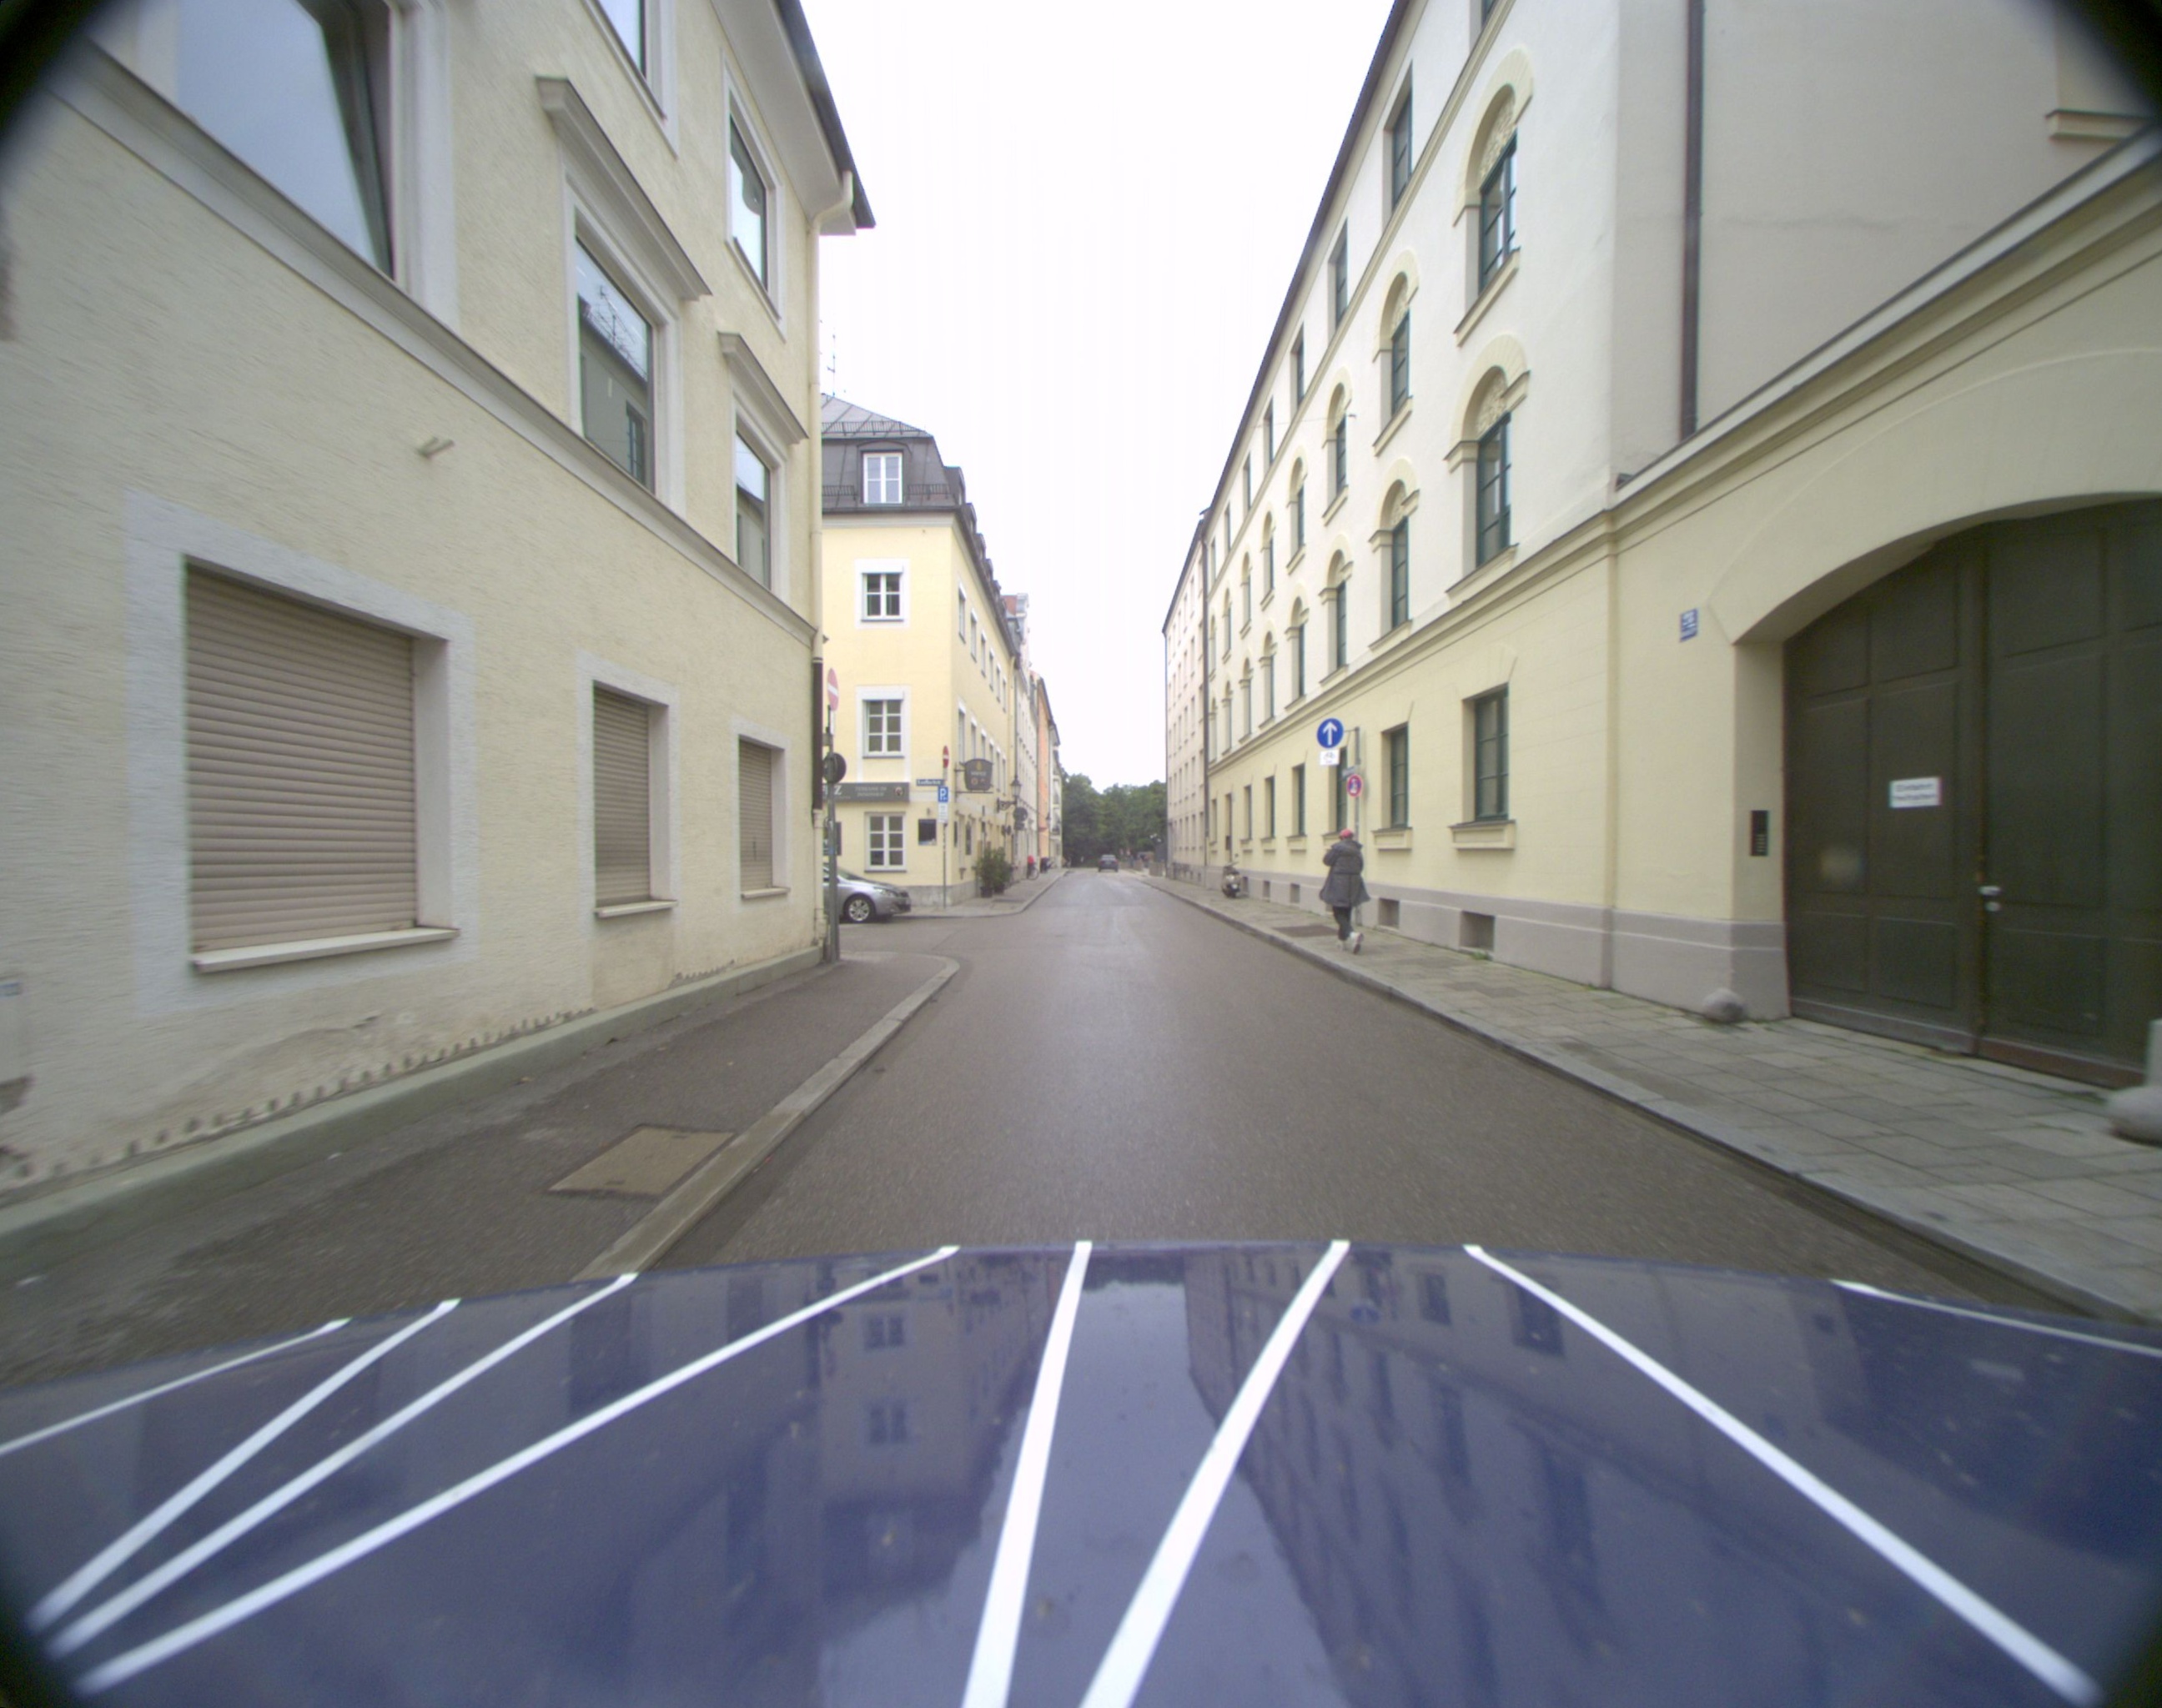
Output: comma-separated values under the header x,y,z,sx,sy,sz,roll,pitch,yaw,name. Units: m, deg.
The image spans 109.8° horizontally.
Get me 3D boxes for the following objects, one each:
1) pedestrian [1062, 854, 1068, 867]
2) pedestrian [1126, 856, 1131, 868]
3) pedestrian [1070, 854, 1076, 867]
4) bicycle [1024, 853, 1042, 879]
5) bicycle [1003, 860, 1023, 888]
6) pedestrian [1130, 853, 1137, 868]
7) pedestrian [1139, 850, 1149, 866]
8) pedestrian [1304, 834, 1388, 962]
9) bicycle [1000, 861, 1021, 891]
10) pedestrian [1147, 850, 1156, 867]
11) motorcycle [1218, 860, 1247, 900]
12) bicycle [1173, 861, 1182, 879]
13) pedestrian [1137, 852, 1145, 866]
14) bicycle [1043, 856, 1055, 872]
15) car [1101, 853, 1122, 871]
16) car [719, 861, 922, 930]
x,y,z,sx,sy,sz,roll,pitch,yaw,name
-2.077,0.841,99.616,0.753,1.670,0.656,0,0,-1,pedestrian
6.908,1.167,109.751,0.625,1.758,0.767,0,0,0,pedestrian
-1.013,0.816,99.644,0.753,1.725,0.853,0,0,-1,pedestrian
-2.742,0.666,43.527,0.715,1.388,2.122,2,0,3,bicycle
-2.869,0.831,32.290,0.567,1.130,1.988,2,0,2,bicycle
5.359,0.664,77.918,0.640,1.458,1.079,-2,0,1,pedestrian
8.099,0.526,97.269,1.226,2.091,1.117,0,0,3,pedestrian
3.795,0.614,10.963,0.811,1.745,0.990,-1,-1,-2,pedestrian
-2.792,0.852,30.222,0.567,1.130,1.684,2,0,2,bicycle
7.184,0.455,77.764,0.826,1.712,0.906,-2,0,6,pedestrian
4.786,0.805,24.099,0.603,1.167,1.708,-1,0,1,motorcycle
5.377,0.876,42.499,0.320,0.938,1.574,-3,0,2,bicycle
6.539,0.542,82.757,0.779,1.531,0.933,-2,0,2,pedestrian
-2.560,0.786,60.472,0.681,1.233,2.383,4,0,2,bicycle
2.772,0.687,69.507,1.817,1.584,4.000,1,0,1,car
-5.899,0.948,17.490,4.024,1.432,1.765,-1,-2,2,car
